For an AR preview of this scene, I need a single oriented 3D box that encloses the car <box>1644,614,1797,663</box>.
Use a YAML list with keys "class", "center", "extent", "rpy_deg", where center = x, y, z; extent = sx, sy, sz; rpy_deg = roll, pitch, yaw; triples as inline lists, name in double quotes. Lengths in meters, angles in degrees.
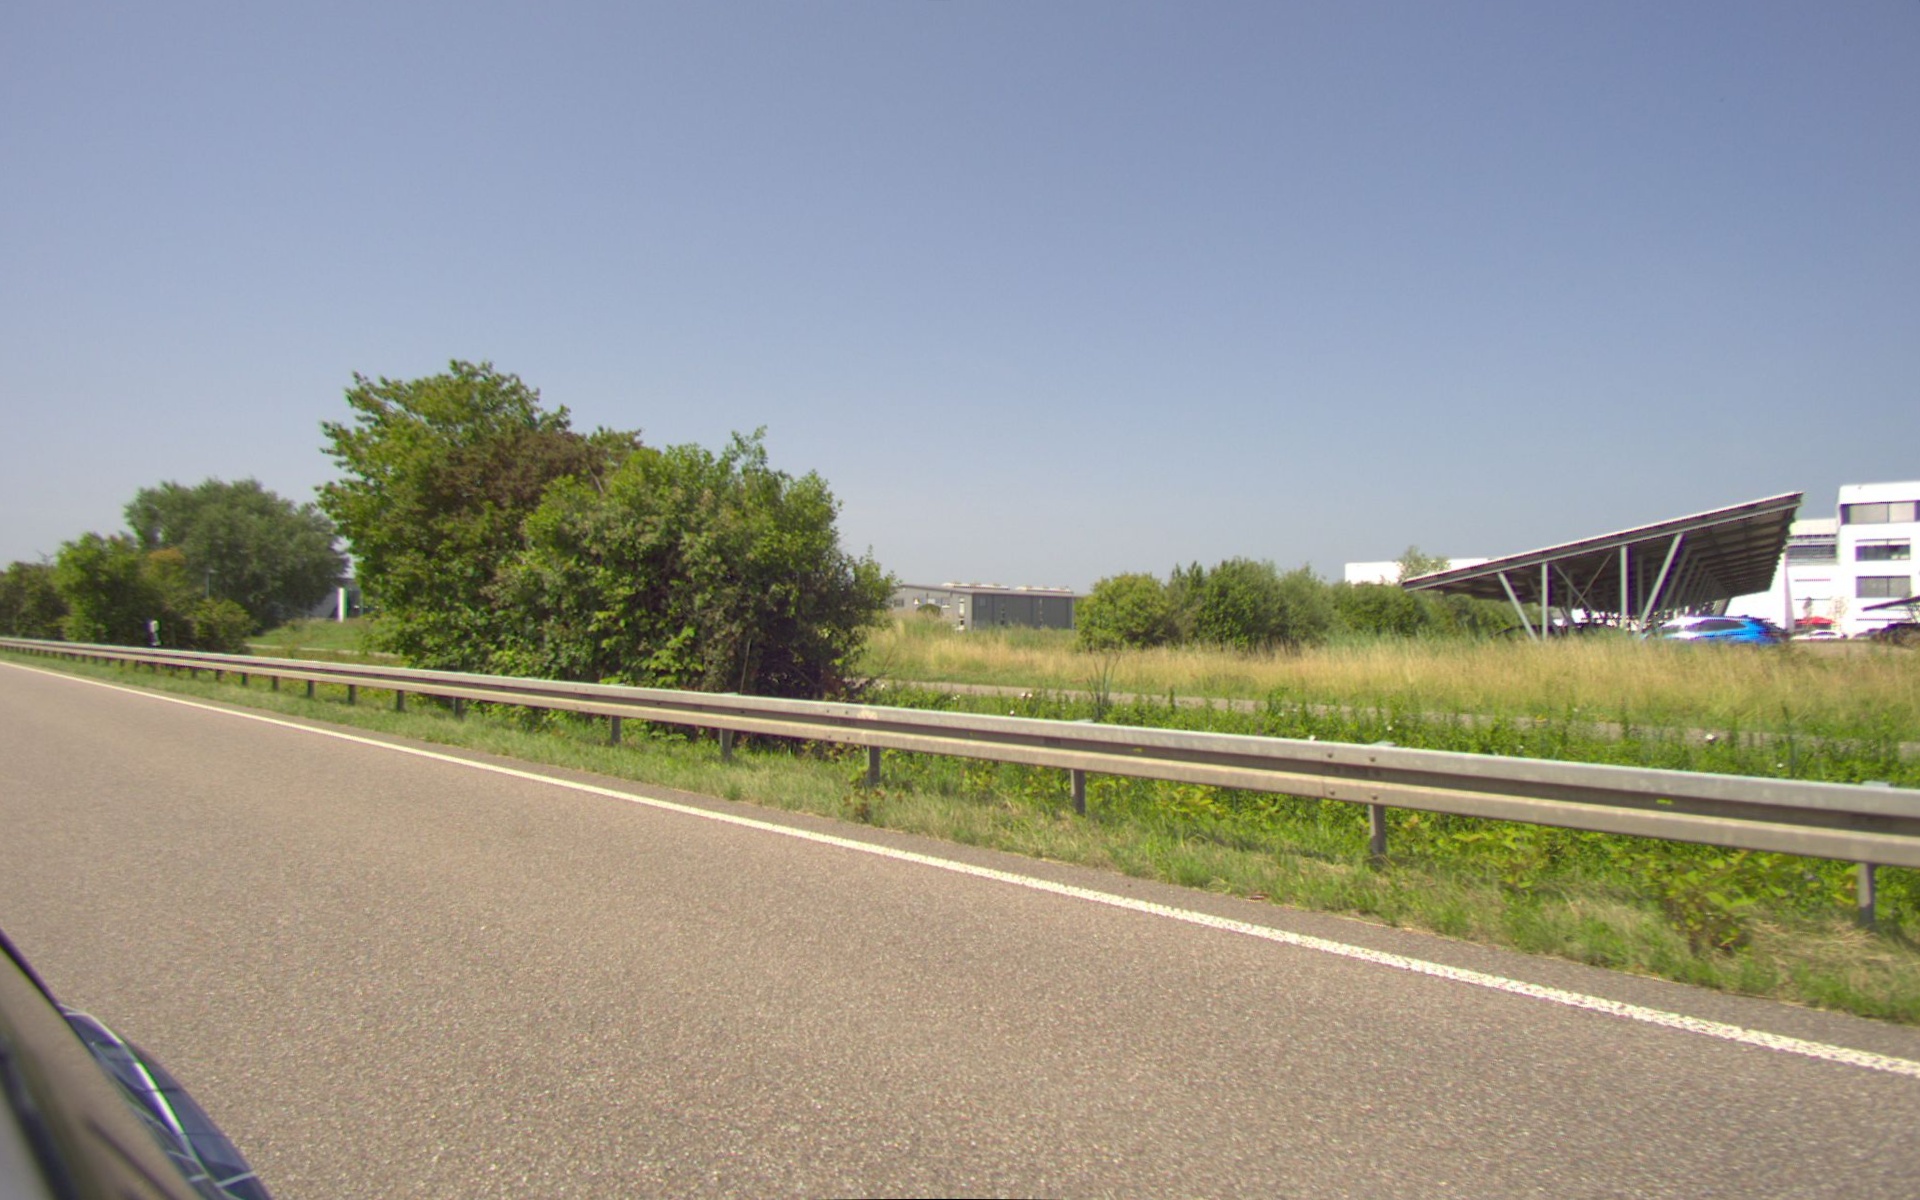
- class: "car"
  center: [21.323, 1.049, 28.469]
  extent: [3.360, 1.301, 1.603]
  rpy_deg: [-1, -2, 38]
